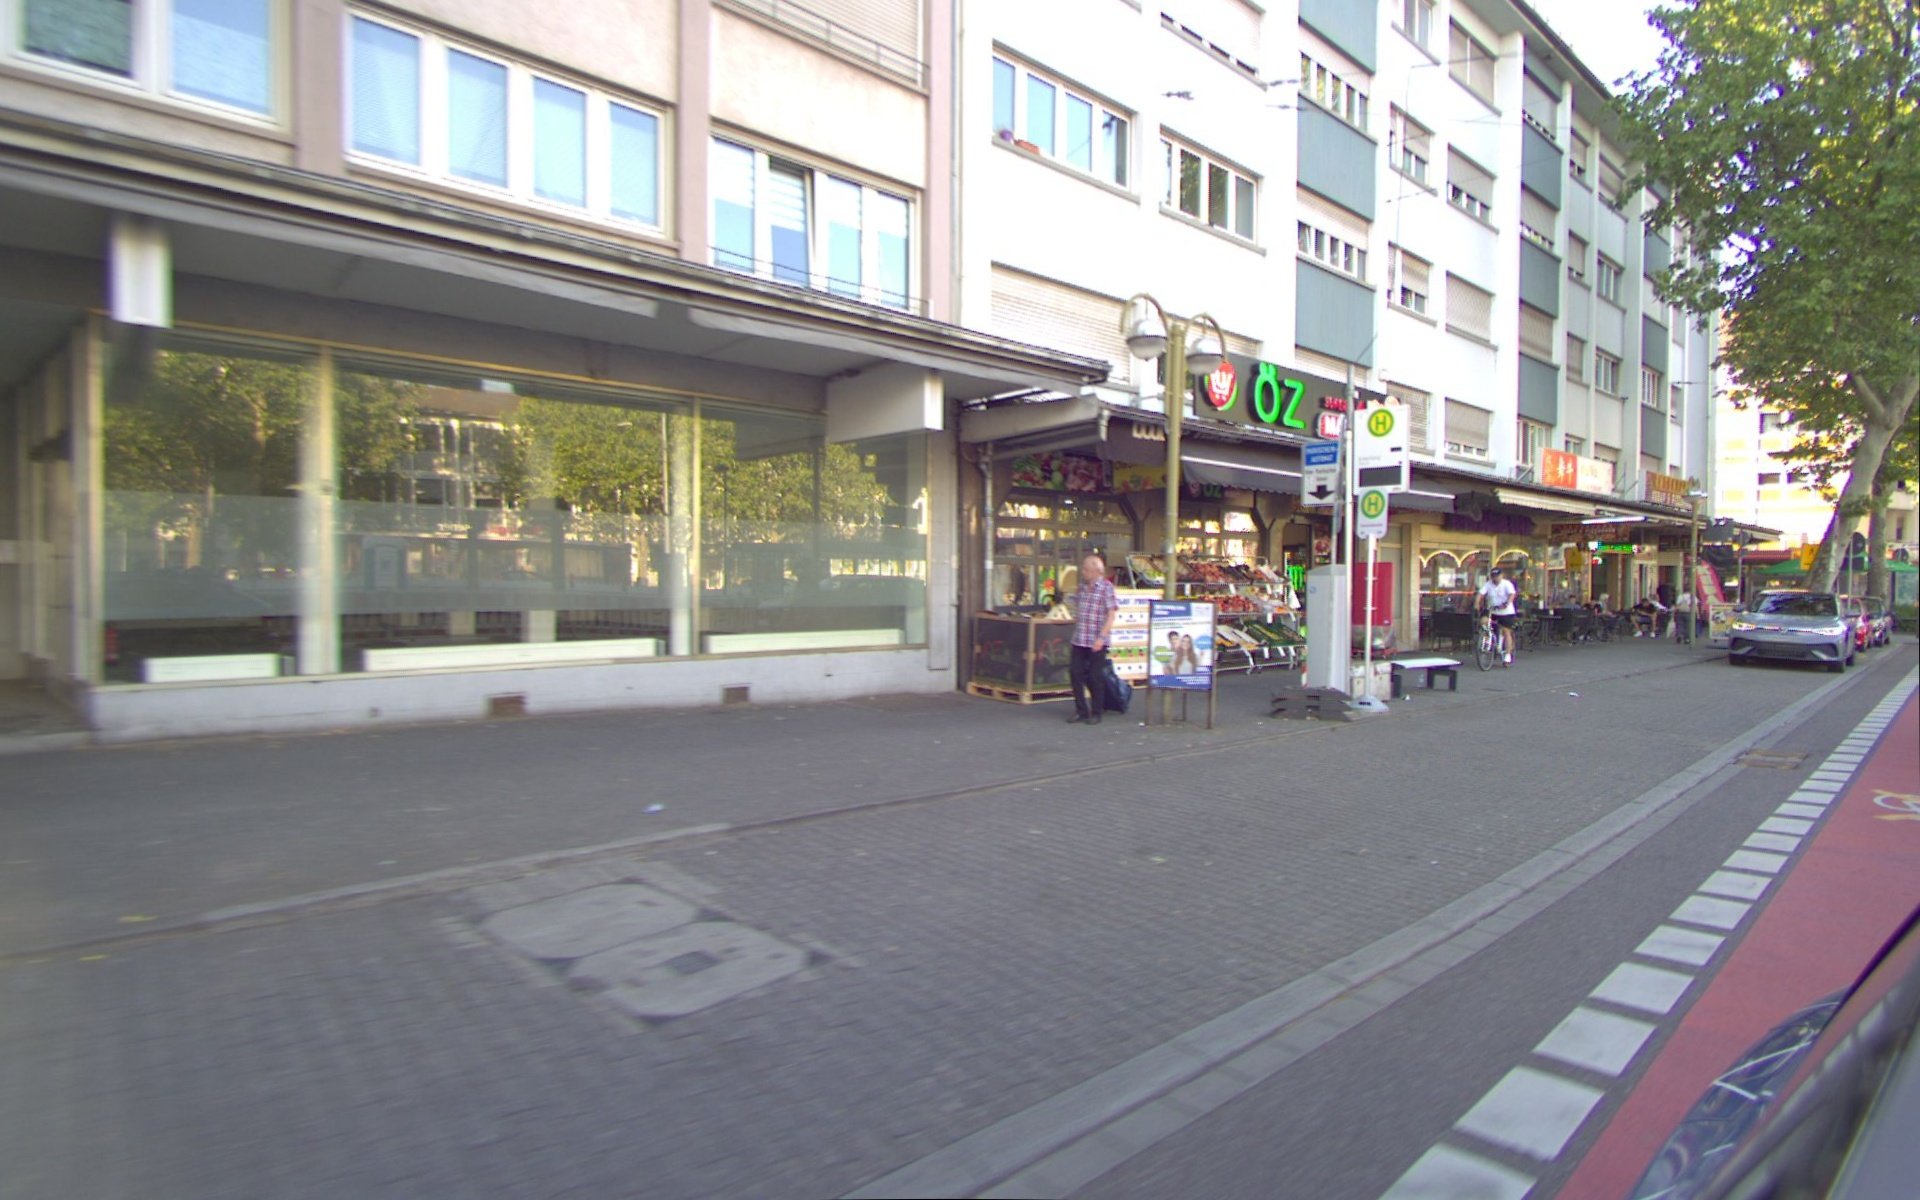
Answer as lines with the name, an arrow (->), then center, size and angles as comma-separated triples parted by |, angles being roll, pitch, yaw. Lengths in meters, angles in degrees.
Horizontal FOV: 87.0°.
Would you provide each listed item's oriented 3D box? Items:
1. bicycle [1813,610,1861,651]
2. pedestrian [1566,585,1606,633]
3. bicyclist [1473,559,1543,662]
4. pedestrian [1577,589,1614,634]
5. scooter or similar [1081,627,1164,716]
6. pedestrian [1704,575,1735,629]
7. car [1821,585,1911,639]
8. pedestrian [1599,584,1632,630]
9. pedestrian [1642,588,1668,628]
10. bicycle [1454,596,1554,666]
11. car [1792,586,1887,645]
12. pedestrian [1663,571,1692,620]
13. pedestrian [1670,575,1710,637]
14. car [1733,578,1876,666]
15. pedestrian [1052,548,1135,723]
bicycle -> 21.157, 0.711, 24.405 | 2.005, 0.895, 0.624 | -1, 3, -43
pedestrian -> 16.691, 0.234, 26.981 | 0.697, 1.243, 0.677 | 0, 2, -40
bicyclist -> 9.631, 0.165, 17.796 | 0.815, 1.730, 0.771 | 0, 3, -41
pedestrian -> 17.306, 0.306, 27.573 | 0.698, 1.191, 0.677 | 0, 2, -42
scooter or similar -> 1.726, 0.740, 10.713 | 0.575, 0.854, 0.722 | 1, 1, 41
pedestrian -> 23.160, 0.051, 30.866 | 0.631, 1.579, 0.584 | 0, 3, -40
car -> 27.907, 0.320, 31.144 | 3.736, 1.497, 1.658 | 0, 2, -43
pedestrian -> 18.736, 0.204, 28.914 | 0.596, 1.281, 0.645 | 0, 2, -42
pedestrian -> 20.610, 0.240, 30.020 | 0.514, 1.148, 0.504 | 2, 1, 26
bicycle -> 9.601, 0.514, 17.813 | 2.228, 1.117, 0.778 | 0, 3, -41
car -> 24.617, 0.381, 28.286 | 1.731, 1.461, 3.920 | 3, 2, 45
pedestrian -> 25.454, -0.166, 35.911 | 0.666, 1.730, 0.709 | 0, 1, -42
pedestrian -> 19.549, 0.144, 27.110 | 0.667, 1.605, 0.709 | 0, 2, -43
car -> 18.046, 0.385, 21.545 | 1.919, 1.617, 4.714 | 3, 2, 45
pedestrian -> 1.345, 0.336, 10.188 | 0.645, 1.694, 0.548 | 0, 1, 40
